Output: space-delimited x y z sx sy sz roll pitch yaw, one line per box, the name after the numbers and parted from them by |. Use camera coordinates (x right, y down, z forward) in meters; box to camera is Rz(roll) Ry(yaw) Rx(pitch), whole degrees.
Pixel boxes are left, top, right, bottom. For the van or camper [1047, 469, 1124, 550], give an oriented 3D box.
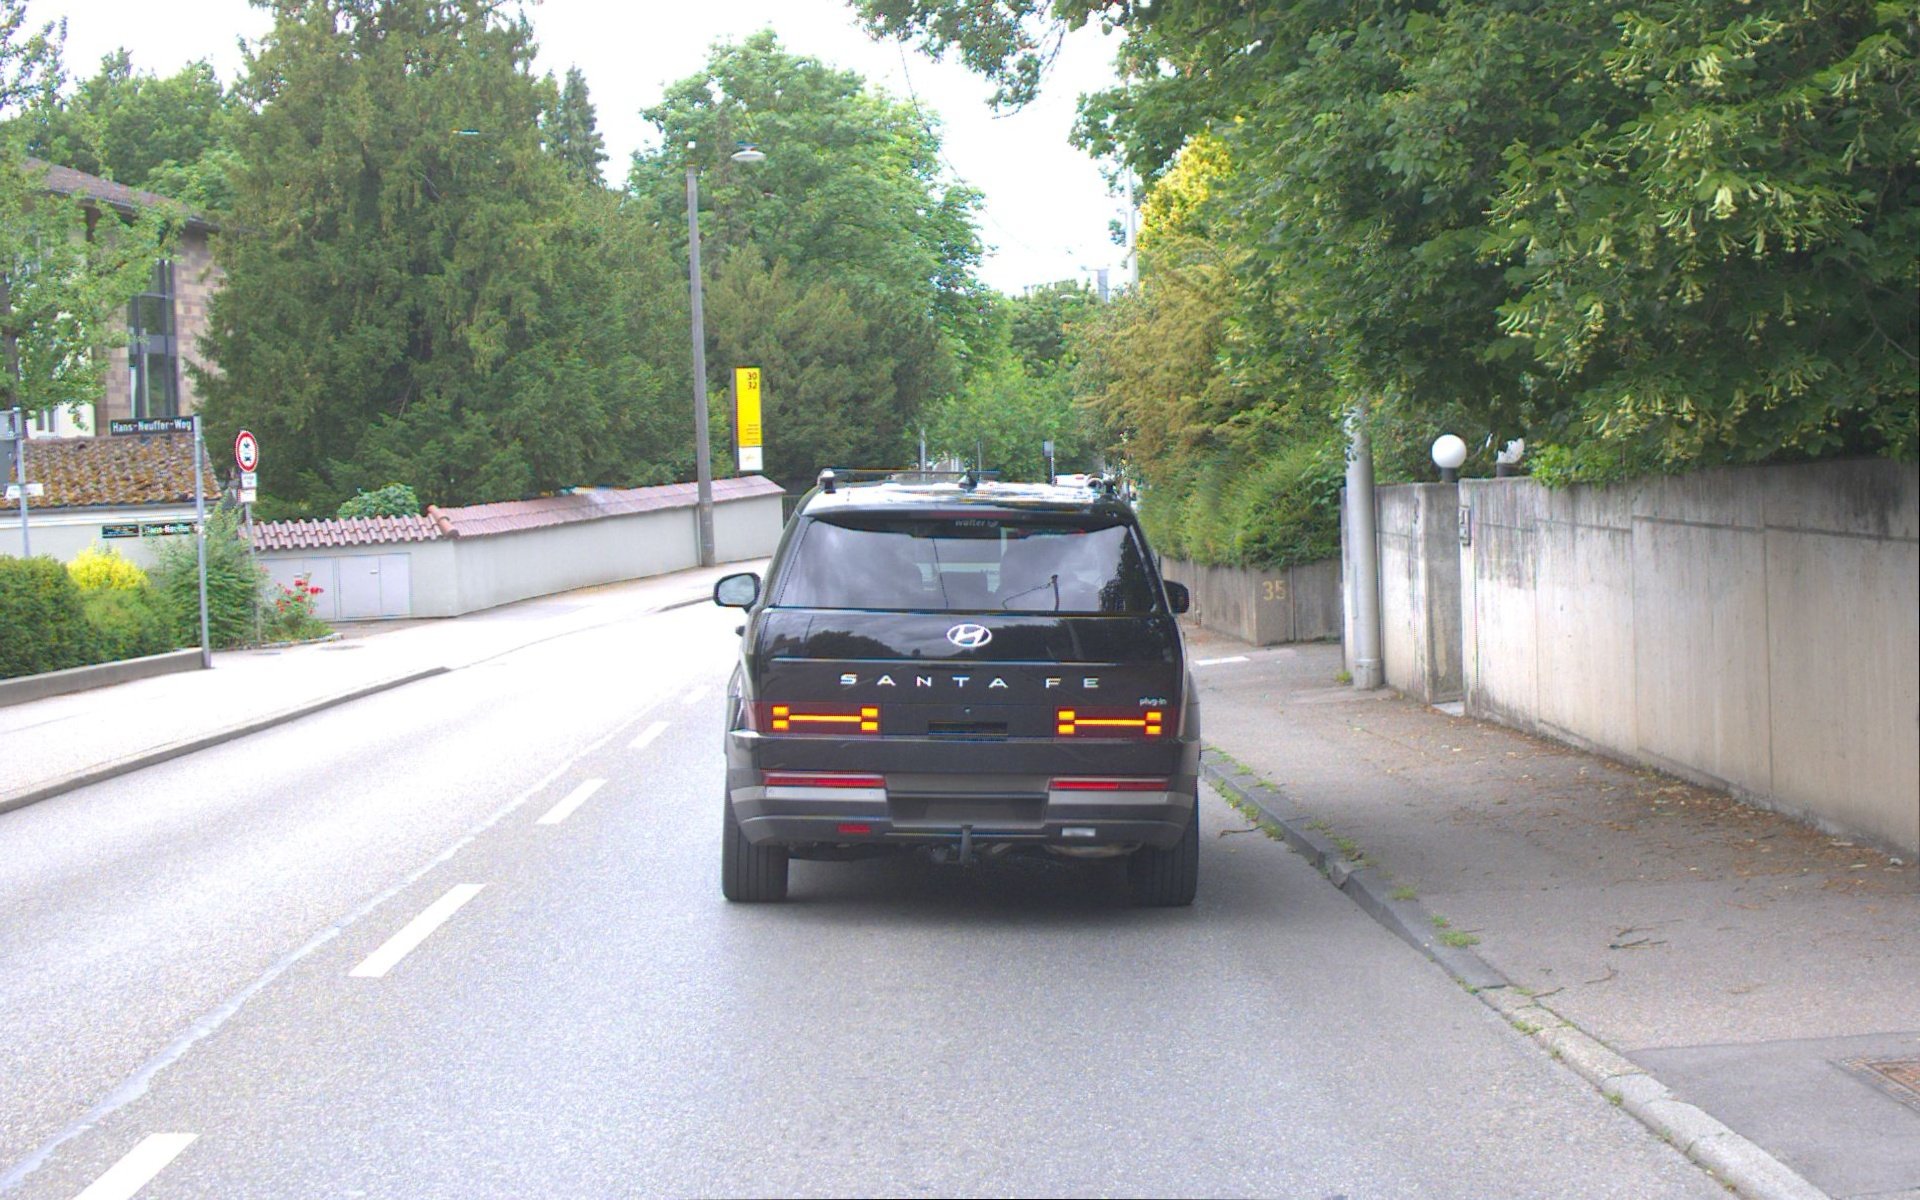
3.405 -2.458 92.483 1.676 2.000 3.937 -2 3 7 | van or camper

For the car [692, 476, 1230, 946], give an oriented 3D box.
-0.028 0.354 14.806 1.957 1.707 4.224 1 2 -1 | car

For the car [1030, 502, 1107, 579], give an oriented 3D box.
2.500 -1.389 78.843 1.676 1.417 3.939 -2 5 3 | car

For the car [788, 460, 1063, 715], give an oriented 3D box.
-0.217 -0.189 29.503 1.957 1.949 4.223 1 3 5 | car
